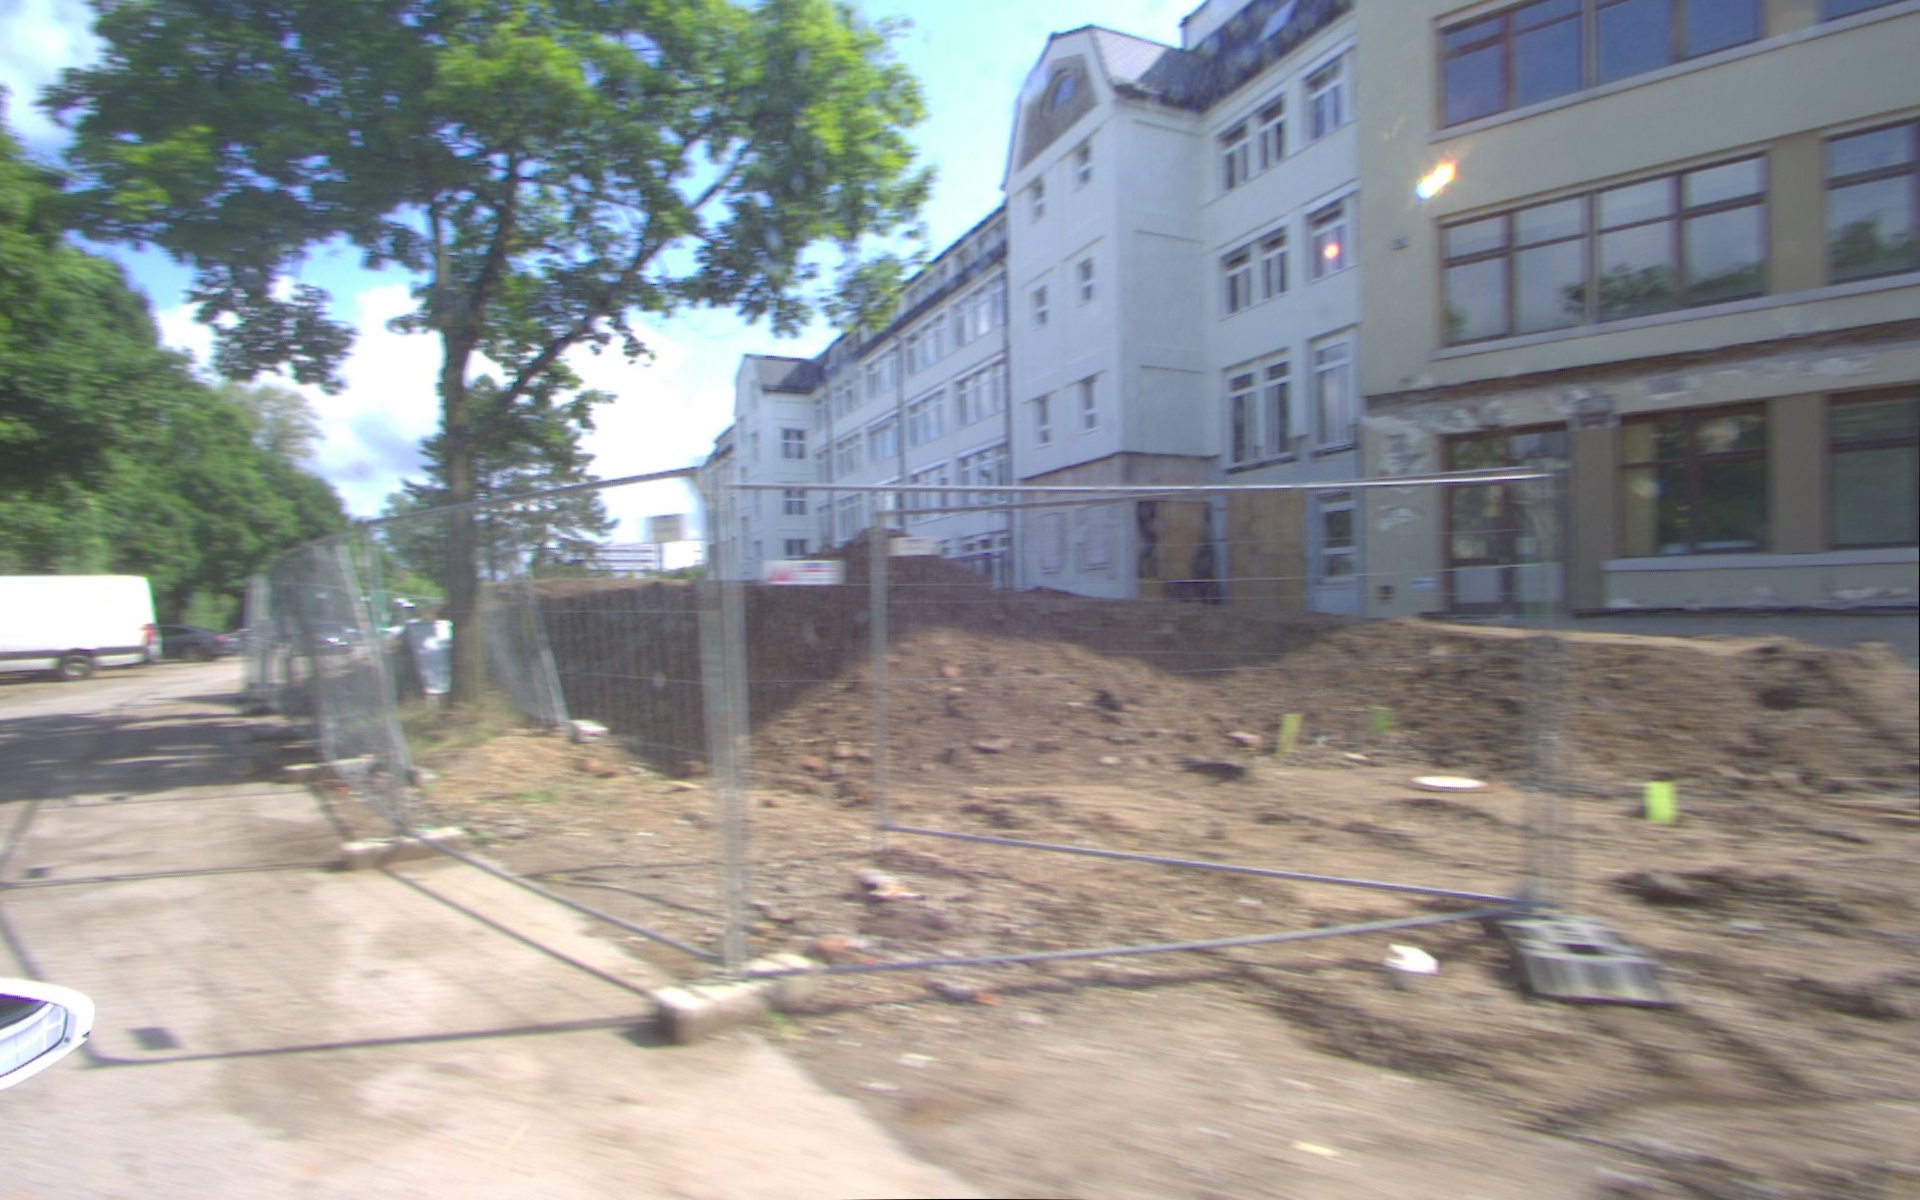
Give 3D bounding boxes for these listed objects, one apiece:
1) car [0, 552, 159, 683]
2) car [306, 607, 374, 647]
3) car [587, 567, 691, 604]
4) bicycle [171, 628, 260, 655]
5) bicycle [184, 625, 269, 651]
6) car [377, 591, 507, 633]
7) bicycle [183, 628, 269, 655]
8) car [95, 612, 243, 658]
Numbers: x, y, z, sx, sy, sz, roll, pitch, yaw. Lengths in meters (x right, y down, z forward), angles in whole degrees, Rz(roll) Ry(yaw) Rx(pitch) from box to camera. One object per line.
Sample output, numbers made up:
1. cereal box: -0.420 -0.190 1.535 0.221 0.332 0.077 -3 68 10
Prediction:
1. car: -24.226 0.371 24.569 6.909 3.084 1.982 6 -5 -42
2. car: -26.930 1.212 43.629 1.815 1.444 3.992 3 -5 -22
3. car: -16.130 -0.696 50.357 4.794 1.444 1.840 3 -5 -25
4. bicycle: -31.465 1.779 42.400 2.844 1.003 1.014 3 -5 -27
5. bicycle: -32.475 1.707 44.390 2.844 1.003 1.014 3 -5 -27
6. car: -21.976 0.548 42.745 4.794 1.444 1.840 3 -5 -25
7. bicycle: -31.808 1.823 43.471 2.844 1.003 1.014 3 -5 -27
8. car: -29.020 1.331 36.923 3.943 1.444 1.837 4 -6 -29
